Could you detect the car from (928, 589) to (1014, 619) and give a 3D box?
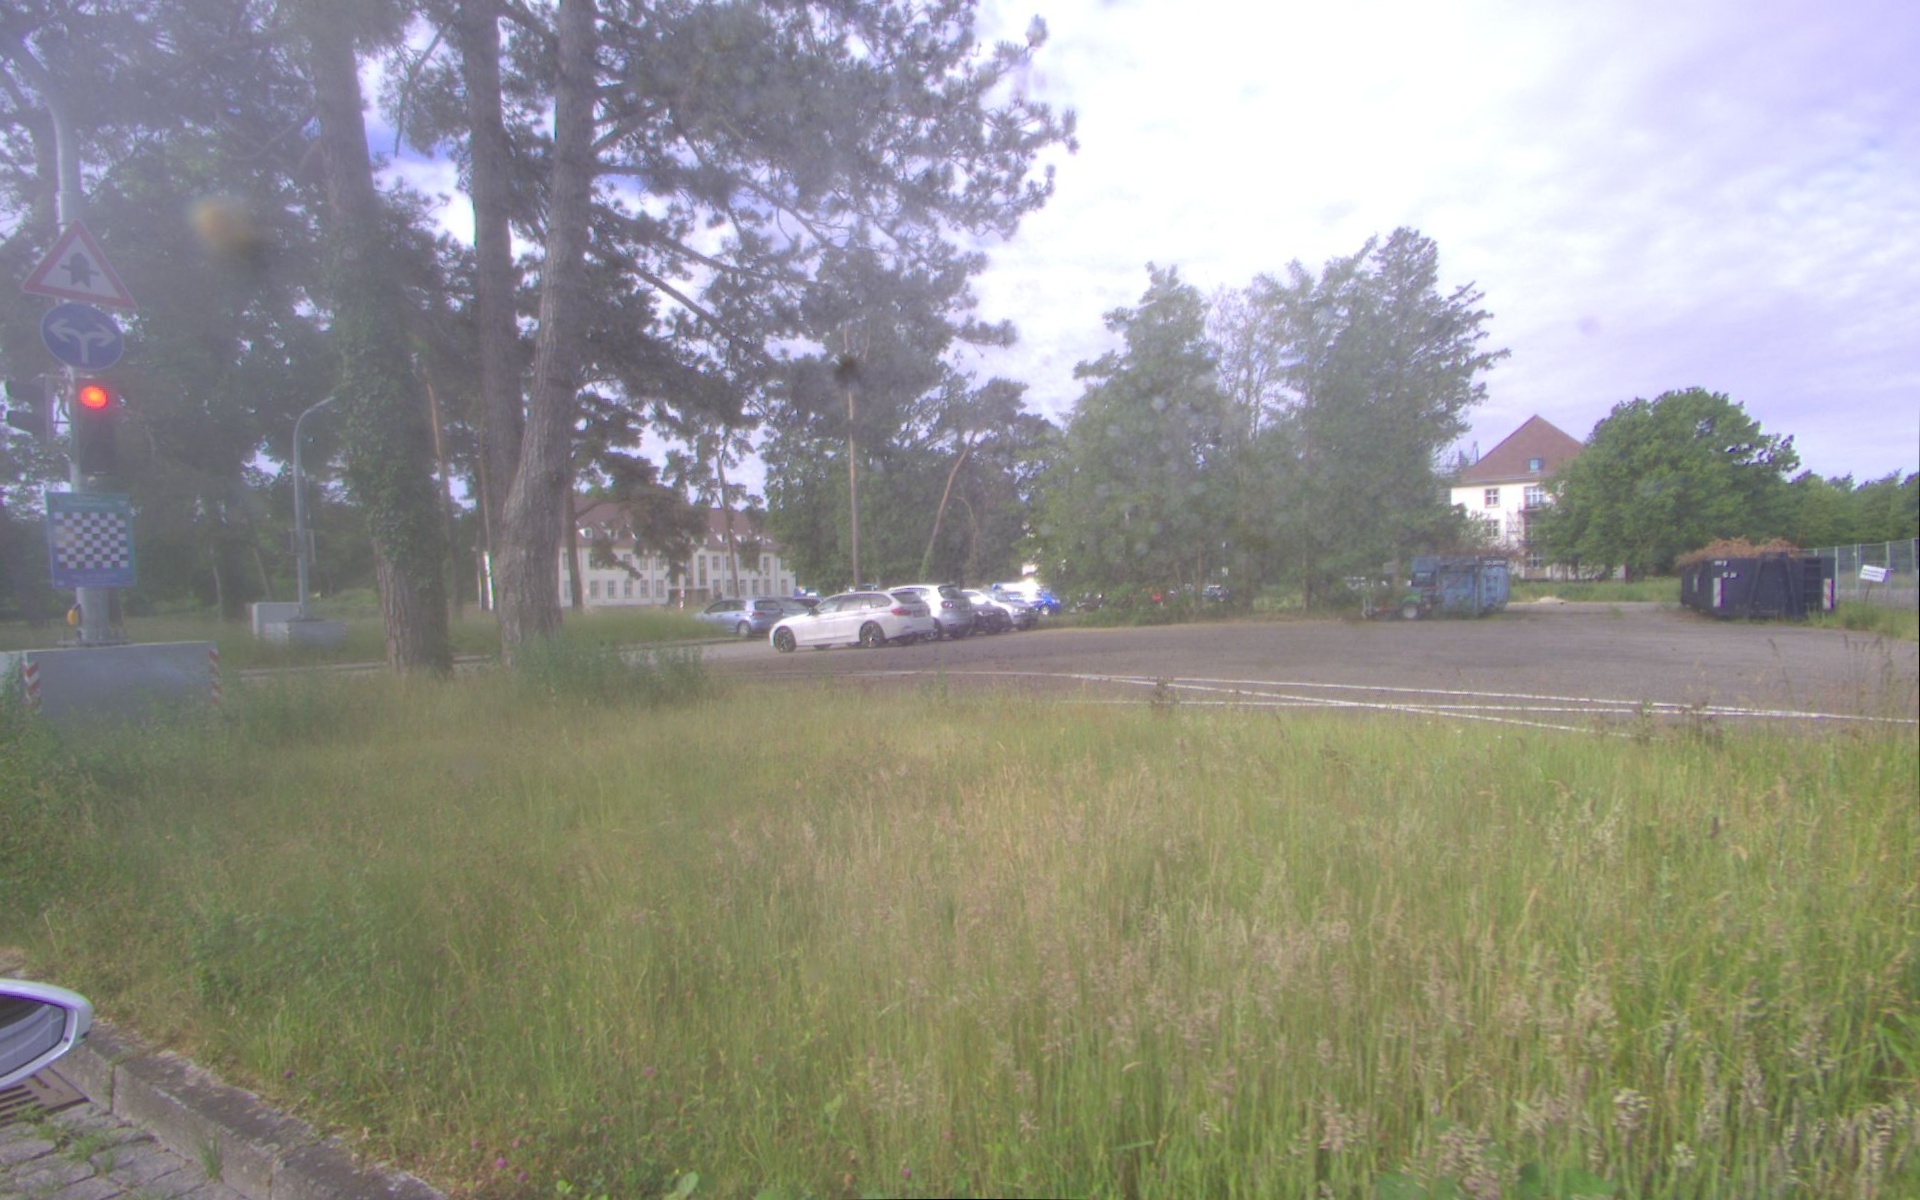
[{"bbox_3d":[0.602,0.231,54.533,4.380,1.545,1.750,-1,1,29],"label":"car"}]

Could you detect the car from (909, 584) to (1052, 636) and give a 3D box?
[{"bbox_3d":[0.663,0.336,33.226,4.380,1.598,1.864,-1,1,29],"label":"car"}]

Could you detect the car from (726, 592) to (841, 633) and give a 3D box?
[{"bbox_3d":[-7.057,0.502,40.031,4.379,1.545,1.750,-1,1,28],"label":"car"}]

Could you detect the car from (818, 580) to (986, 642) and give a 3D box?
[{"bbox_3d":[-1.653,0.312,28.238,4.380,1.598,1.864,-1,1,29],"label":"car"}]

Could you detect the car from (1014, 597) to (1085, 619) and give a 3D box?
[{"bbox_3d":[5.373,0.486,60.112,3.942,1.225,1.654,-2,0,31],"label":"car"}]

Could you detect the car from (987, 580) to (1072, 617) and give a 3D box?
[{"bbox_3d":[3.985,-0.074,57.778,4.586,1.994,1.750,-1,1,29],"label":"car"}]

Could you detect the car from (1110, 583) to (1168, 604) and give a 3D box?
[{"bbox_3d":[13.289,-0.482,74.245,3.937,1.373,1.656,-1,1,27],"label":"car"}]

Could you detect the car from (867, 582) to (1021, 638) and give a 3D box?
[{"bbox_3d":[-0.509,0.298,30.694,4.380,1.598,1.864,-1,1,29],"label":"car"}]

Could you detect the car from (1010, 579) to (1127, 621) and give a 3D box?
[{"bbox_3d":[4.452,0.014,41.230,4.380,1.598,1.864,-1,1,29],"label":"car"}]

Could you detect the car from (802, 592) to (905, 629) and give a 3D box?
[{"bbox_3d":[-4.770,0.467,44.797,4.380,1.545,1.750,-1,1,29],"label":"car"}]

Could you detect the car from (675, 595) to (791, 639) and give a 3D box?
[{"bbox_3d":[-8.694,0.653,38.187,4.386,1.545,1.747,-1,1,33],"label":"car"}]

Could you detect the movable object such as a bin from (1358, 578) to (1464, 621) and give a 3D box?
[{"bbox_3d":[12.156,-0.022,27.021,2.505,1.098,1.060,0,2,31],"label":"movable object such as a bin"}]

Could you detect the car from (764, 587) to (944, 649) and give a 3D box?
[{"bbox_3d":[-2.771,0.472,25.899,4.380,1.434,1.750,-2,1,29],"label":"car"}]

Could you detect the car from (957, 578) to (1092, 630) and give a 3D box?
[{"bbox_3d":[2.255,0.156,35.262,4.380,1.709,1.864,-1,1,29],"label":"car"}]

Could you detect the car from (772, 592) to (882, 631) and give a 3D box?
[{"bbox_3d":[-5.633,0.509,42.275,4.380,1.545,1.750,-1,1,29],"label":"car"}]

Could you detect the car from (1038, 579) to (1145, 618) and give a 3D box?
[{"bbox_3d":[5.911,-0.067,45.146,4.380,1.598,1.864,-1,1,29],"label":"car"}]
